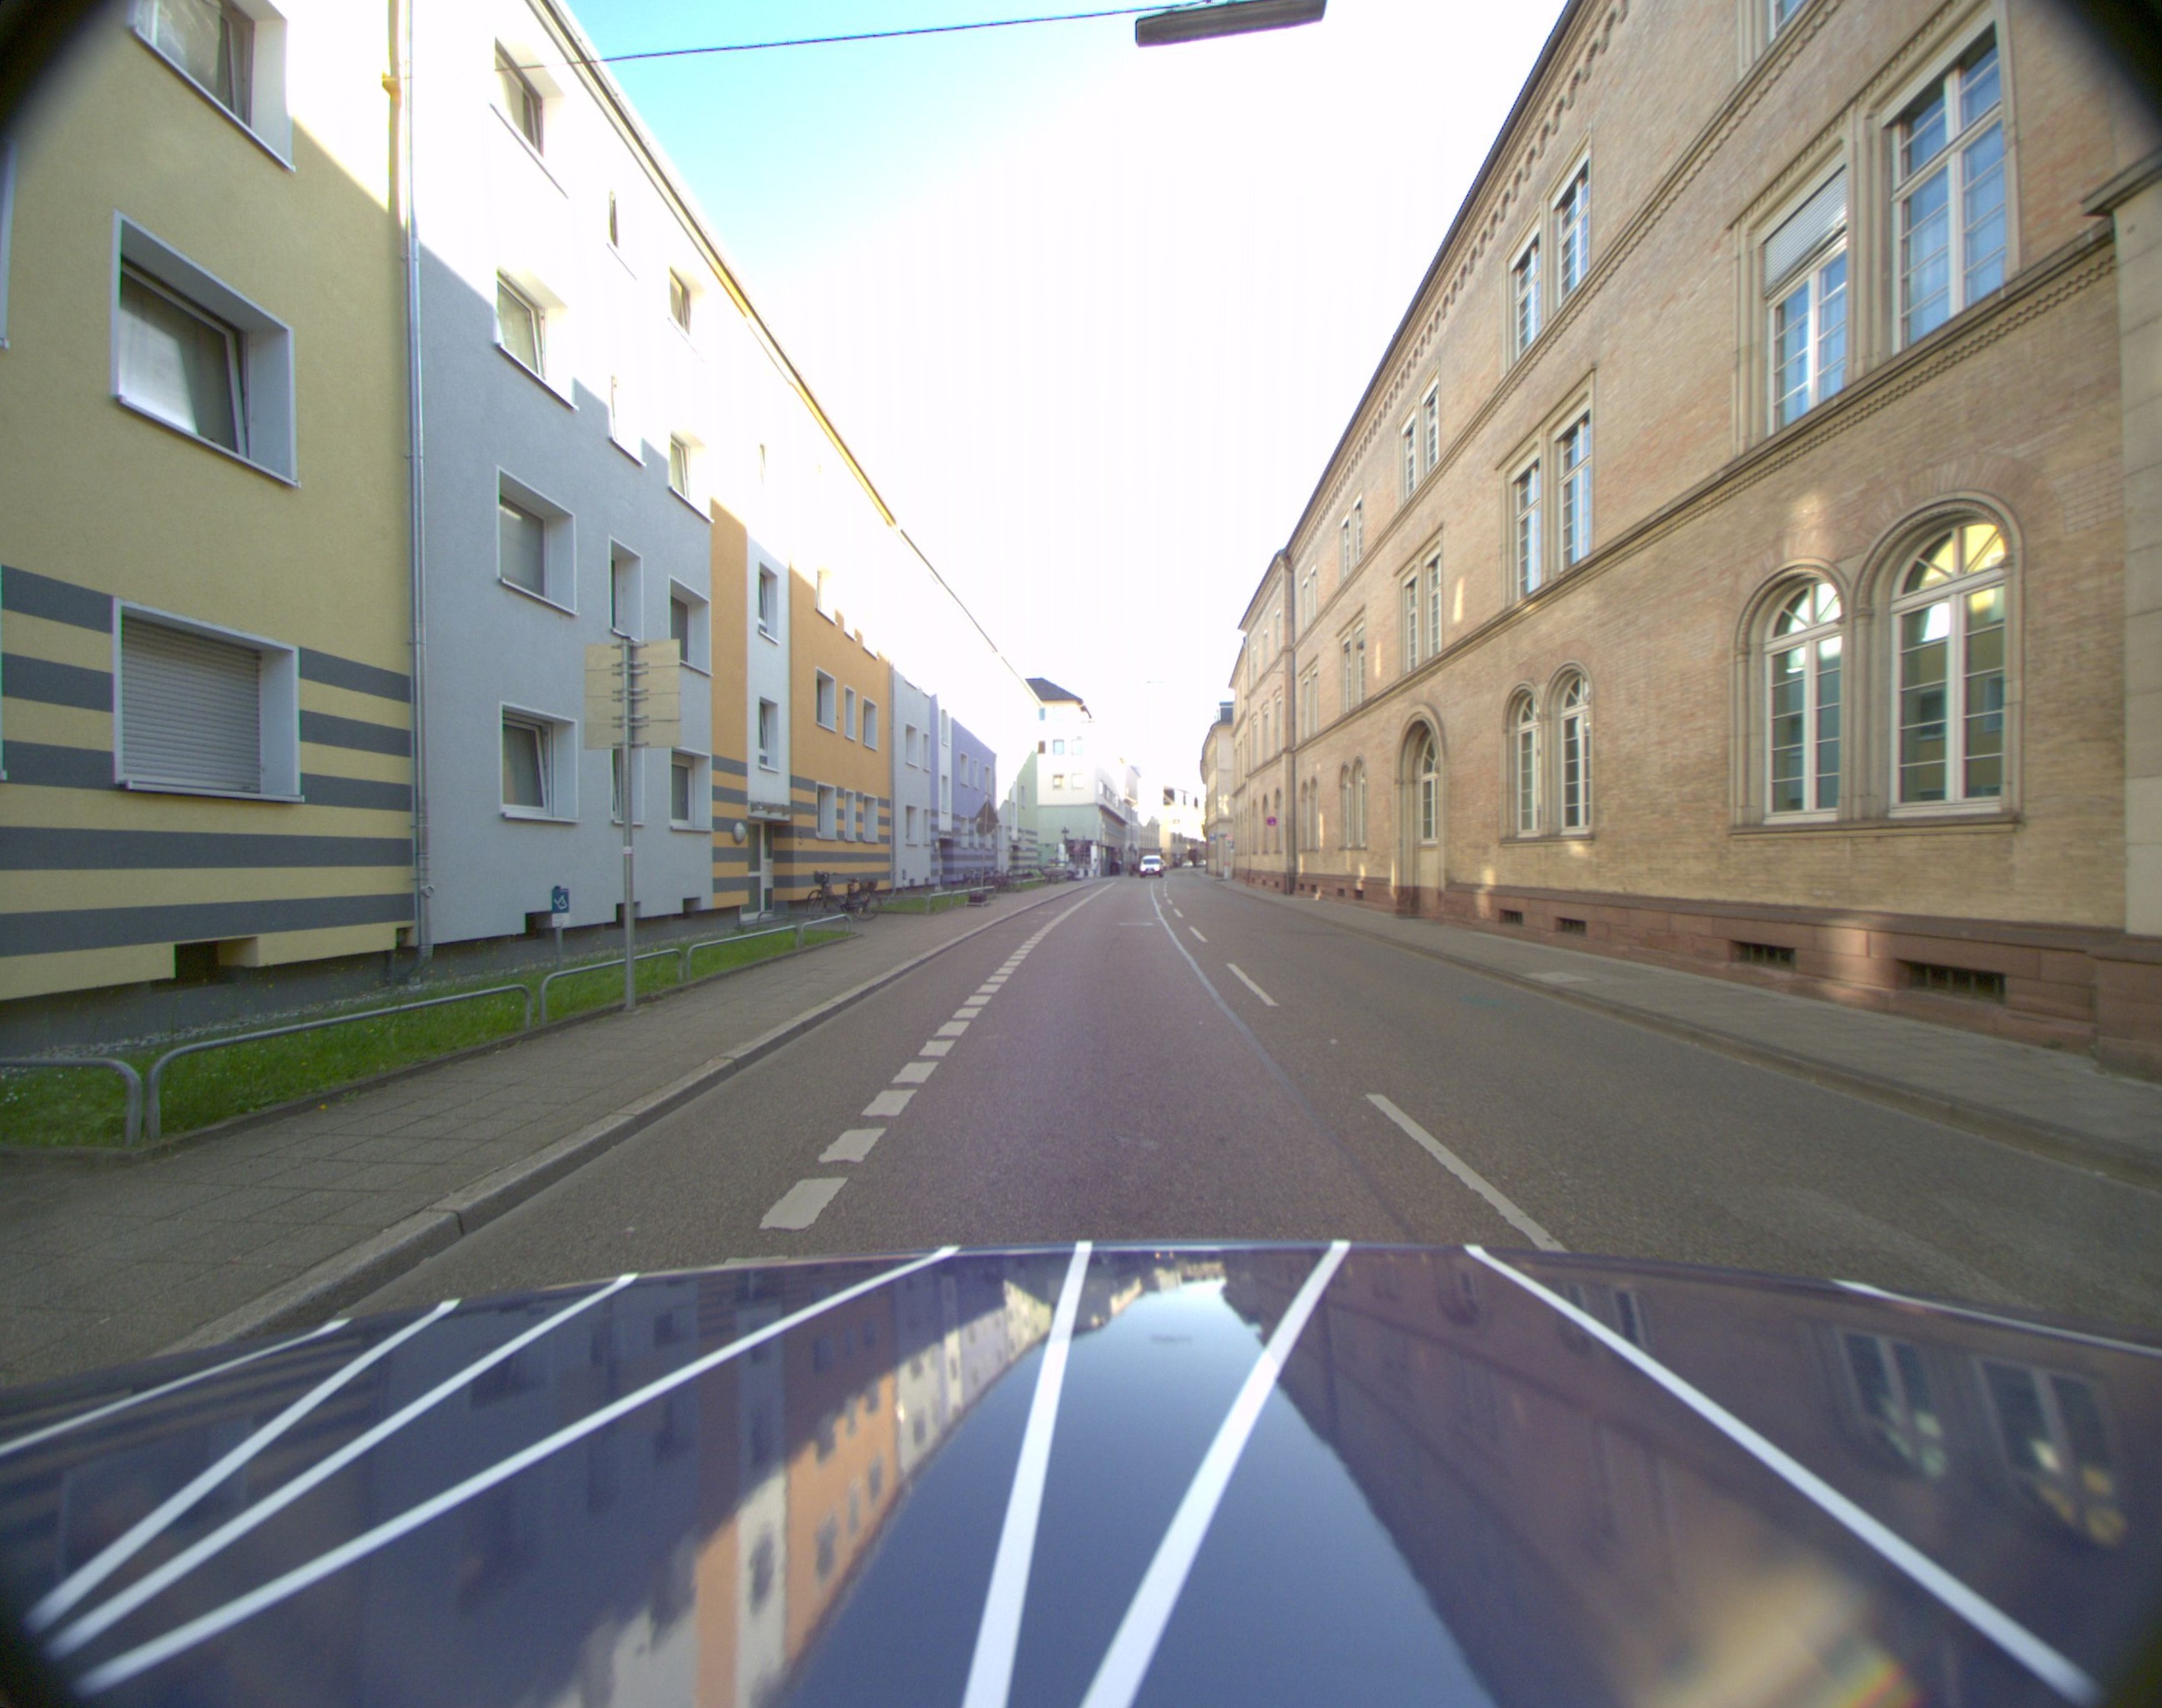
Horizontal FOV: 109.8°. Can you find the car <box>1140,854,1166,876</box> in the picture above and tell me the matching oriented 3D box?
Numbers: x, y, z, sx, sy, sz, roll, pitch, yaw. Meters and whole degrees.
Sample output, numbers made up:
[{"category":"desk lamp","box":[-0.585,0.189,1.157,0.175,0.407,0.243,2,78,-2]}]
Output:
[{"category":"car","box":[6.044,0.870,63.330,1.922,1.712,4.963,0,0,7]}]

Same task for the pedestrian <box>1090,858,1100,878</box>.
[{"category":"pedestrian","box":[1.089,1.101,59.074,0.708,1.510,0.661,-1,0,-4]}]

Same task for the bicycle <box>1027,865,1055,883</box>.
[{"category":"bicycle","box":[-2.430,1.207,46.123,1.711,1.097,0.584,1,0,-2]}]

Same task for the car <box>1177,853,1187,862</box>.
[{"category":"car","box":[19.938,0.657,149.653,1.534,1.714,3.743,0,0,16]}]

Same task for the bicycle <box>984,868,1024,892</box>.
[{"category":"bicycle","box":[-3.400,1.164,33.765,1.711,1.029,0.636,1,0,-2]}]

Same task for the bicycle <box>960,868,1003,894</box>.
[{"category":"bicycle","box":[-4.161,1.137,31.861,1.710,1.039,0.636,1,0,2]}]

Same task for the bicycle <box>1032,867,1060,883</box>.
[{"category":"bicycle","box":[-2.182,1.284,47.583,1.711,0.972,0.516,1,0,-2]}]

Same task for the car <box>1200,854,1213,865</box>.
[{"category":"car","box":[19.885,0.837,120.152,1.662,1.714,3.743,0,0,14]}]

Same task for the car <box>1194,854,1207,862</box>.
[{"category":"car","box":[25.779,0.851,163.650,1.925,1.714,4.236,0,0,19]}]

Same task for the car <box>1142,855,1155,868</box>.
[{"category":"car","box":[9.454,1.024,106.050,1.535,1.714,3.741,0,0,8]}]

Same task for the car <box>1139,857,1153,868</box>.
[{"category":"car","box":[8.628,1.135,100.775,1.634,1.405,3.687,0,0,8]}]

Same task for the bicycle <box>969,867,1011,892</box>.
[{"category":"bicycle","box":[-3.959,1.100,33.003,1.710,1.075,0.636,1,0,1]}]

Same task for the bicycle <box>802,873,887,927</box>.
[{"category":"bicycle","box":[-5.299,1.029,17.108,1.711,1.152,0.636,1,0,-2]}]
